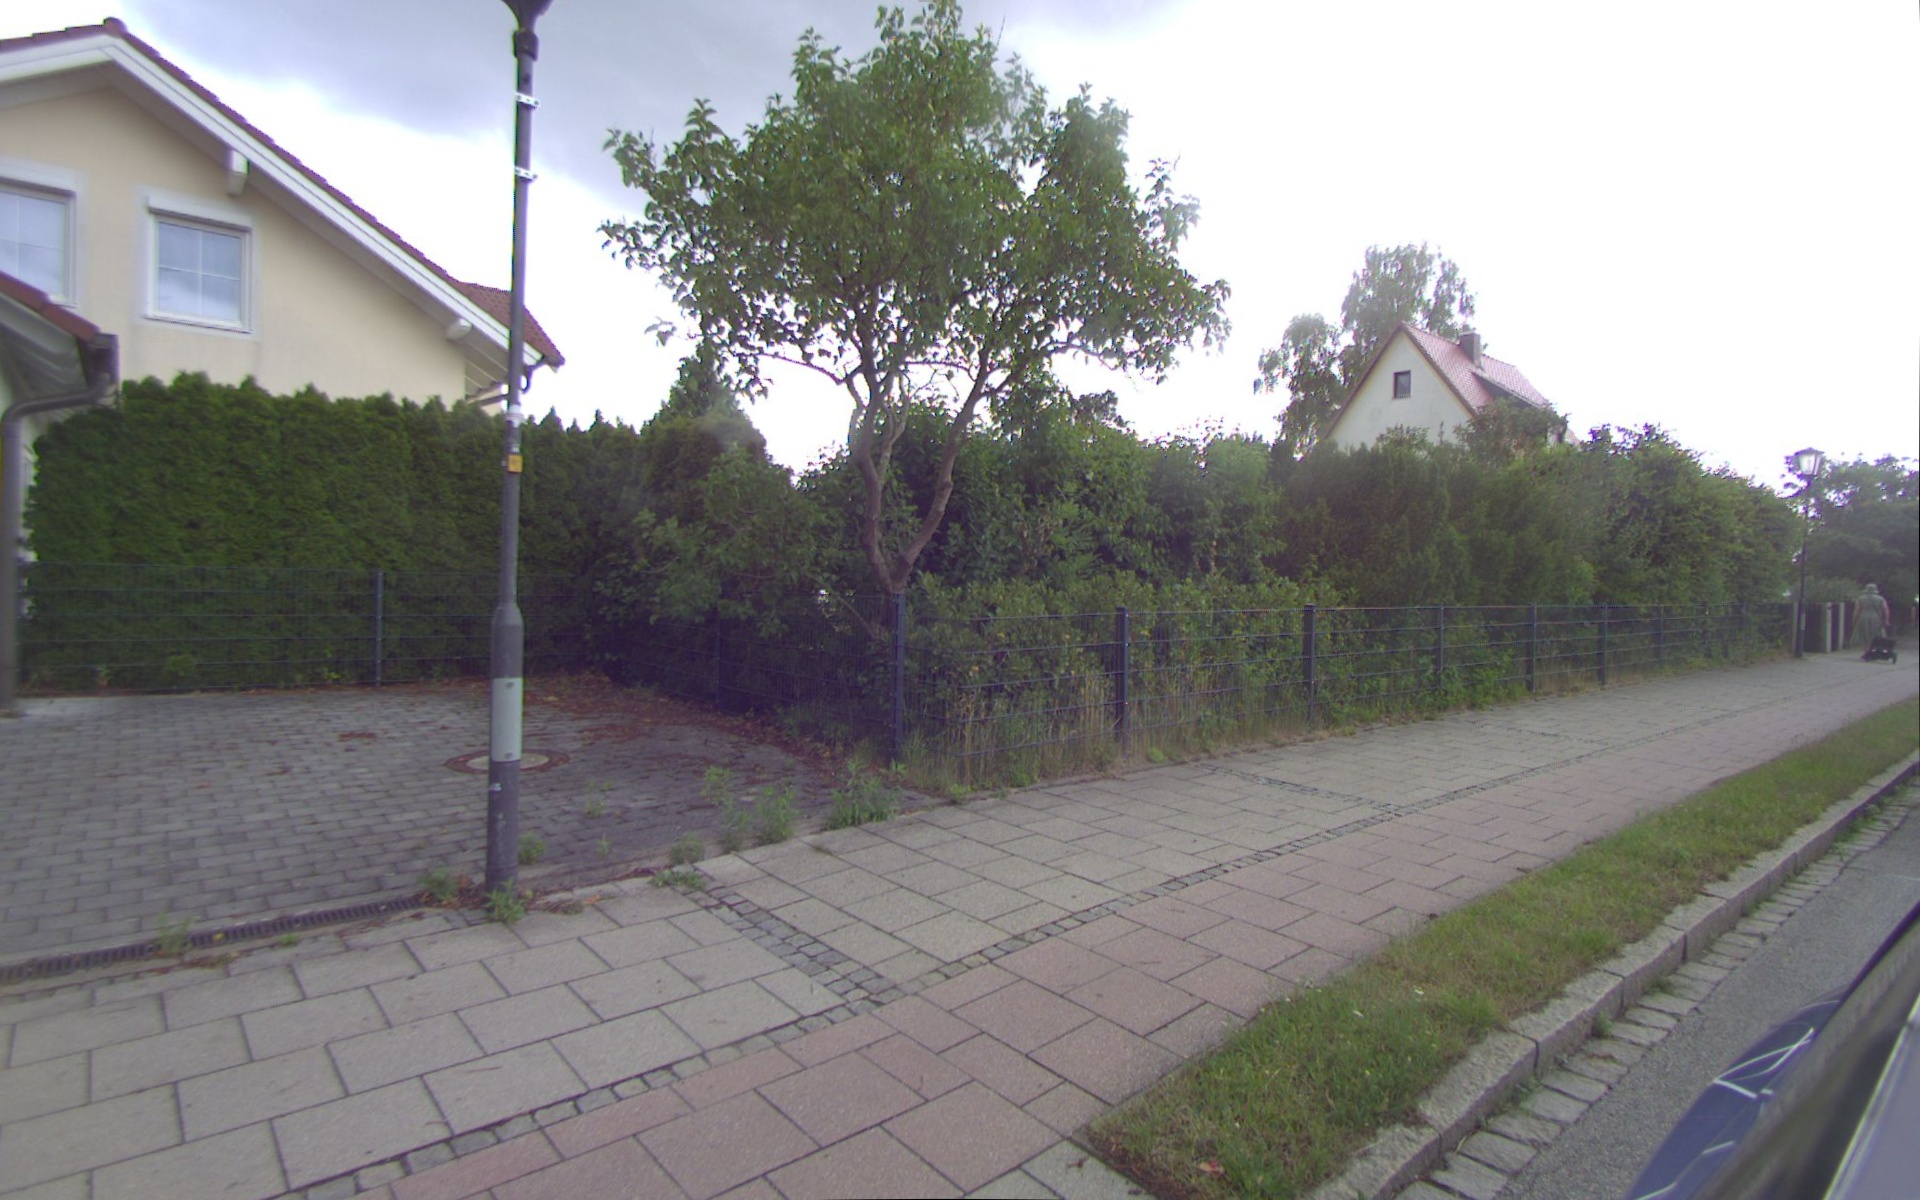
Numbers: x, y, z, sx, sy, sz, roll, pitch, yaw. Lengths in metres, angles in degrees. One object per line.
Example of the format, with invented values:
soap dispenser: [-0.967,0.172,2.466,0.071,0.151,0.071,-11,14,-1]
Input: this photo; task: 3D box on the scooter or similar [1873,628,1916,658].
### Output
scooter or similar: [19.088,0.868,20.676,0.616,0.563,0.731,1,1,42]

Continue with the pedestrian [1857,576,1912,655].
pedestrian: [19.441,0.310,21.294,0.790,1.622,0.661,2,2,42]
